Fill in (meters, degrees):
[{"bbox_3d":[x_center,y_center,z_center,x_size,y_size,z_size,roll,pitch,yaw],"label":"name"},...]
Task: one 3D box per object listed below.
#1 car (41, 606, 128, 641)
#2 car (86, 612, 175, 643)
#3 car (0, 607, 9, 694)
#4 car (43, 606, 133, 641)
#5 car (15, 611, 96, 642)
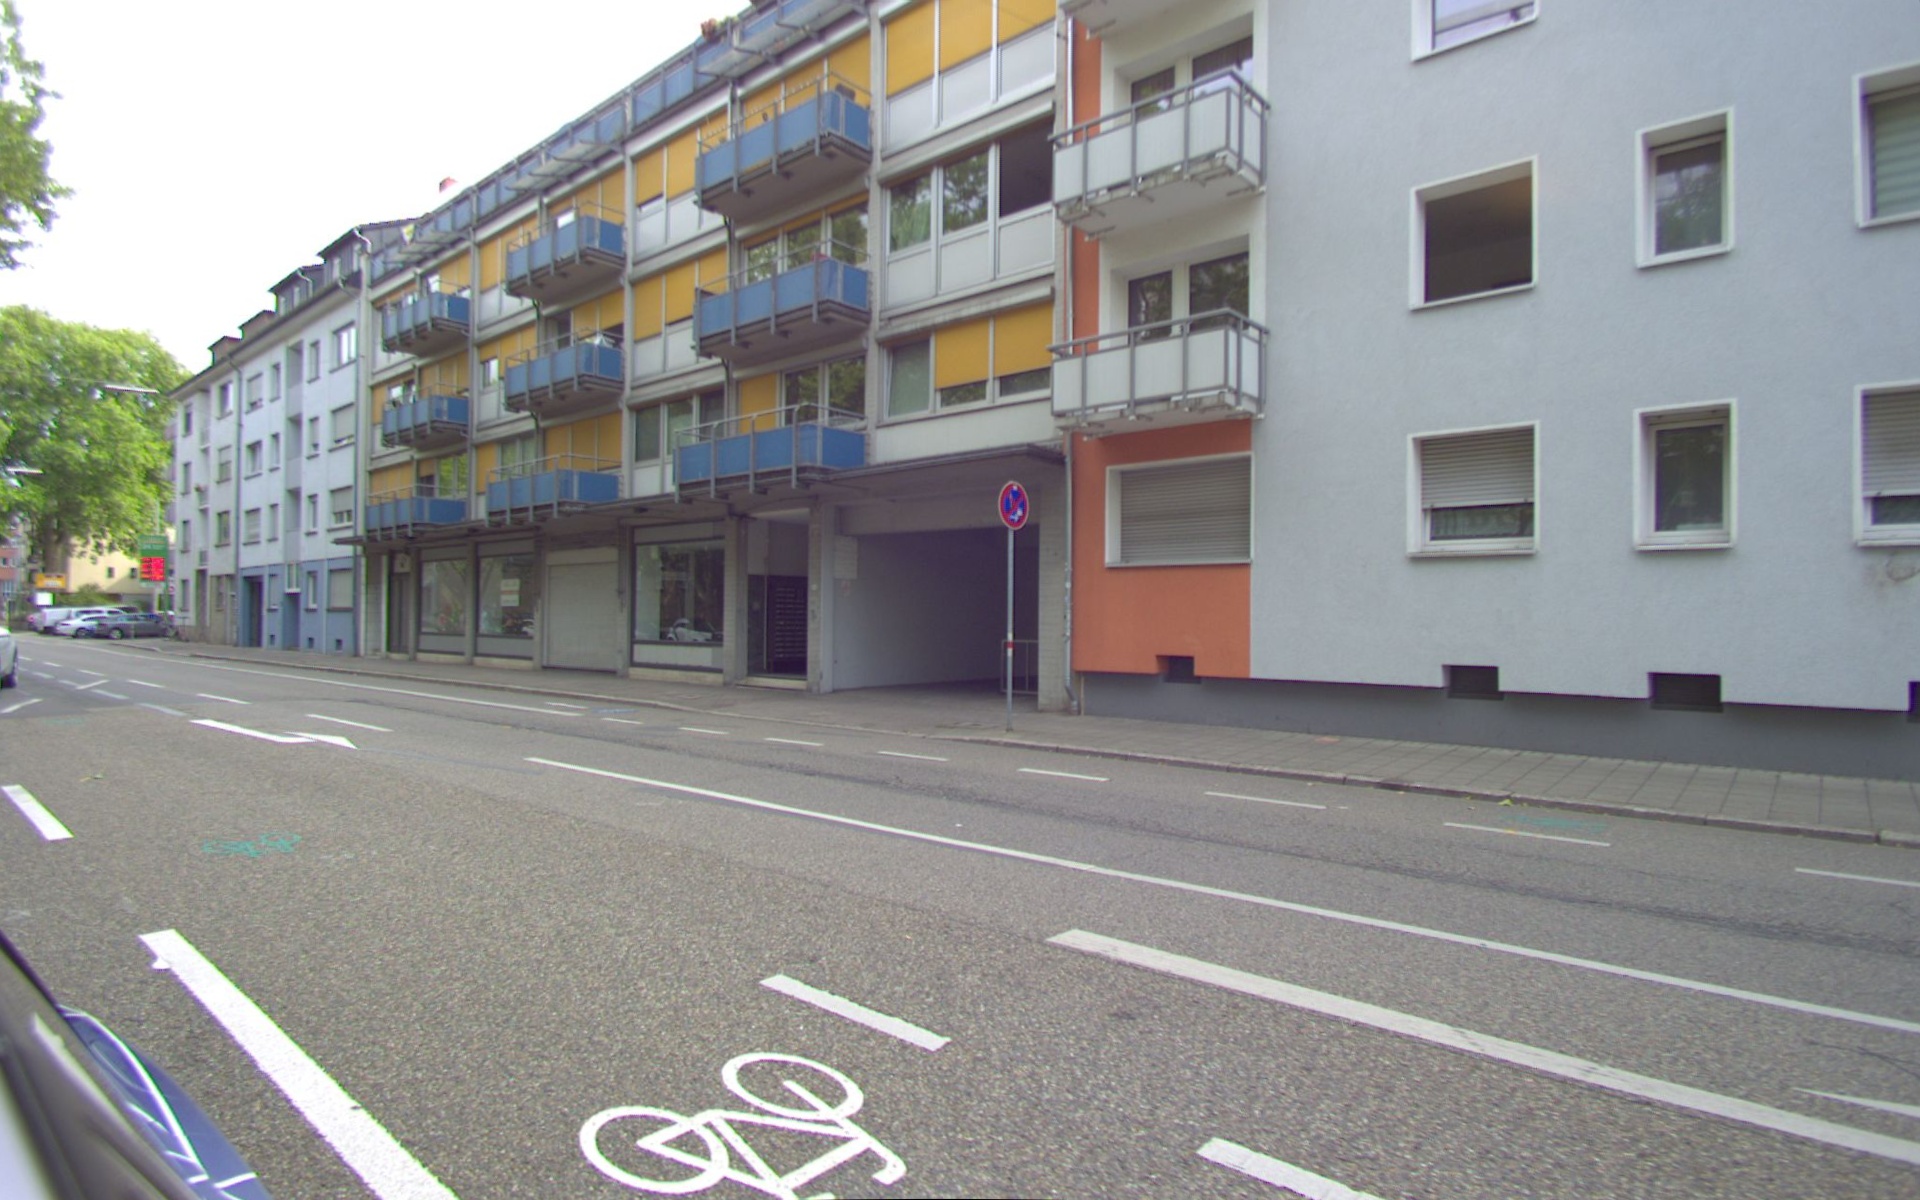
[{"bbox_3d":[-55.338,1.451,64.019,1.999,2.029,3.946,-1,0,41],"label":"car"},{"bbox_3d":[-49.263,1.594,60.138,1.881,1.701,3.821,-1,0,41],"label":"car"},{"bbox_3d":[-18.583,0.924,18.206,1.969,1.564,4.527,-1,0,-41],"label":"car"},{"bbox_3d":[-53.493,1.412,62.145,1.999,2.029,3.946,-1,0,41],"label":"car"},{"bbox_3d":[-62.450,1.785,69.936,1.999,2.029,3.946,-1,0,41],"label":"car"}]
